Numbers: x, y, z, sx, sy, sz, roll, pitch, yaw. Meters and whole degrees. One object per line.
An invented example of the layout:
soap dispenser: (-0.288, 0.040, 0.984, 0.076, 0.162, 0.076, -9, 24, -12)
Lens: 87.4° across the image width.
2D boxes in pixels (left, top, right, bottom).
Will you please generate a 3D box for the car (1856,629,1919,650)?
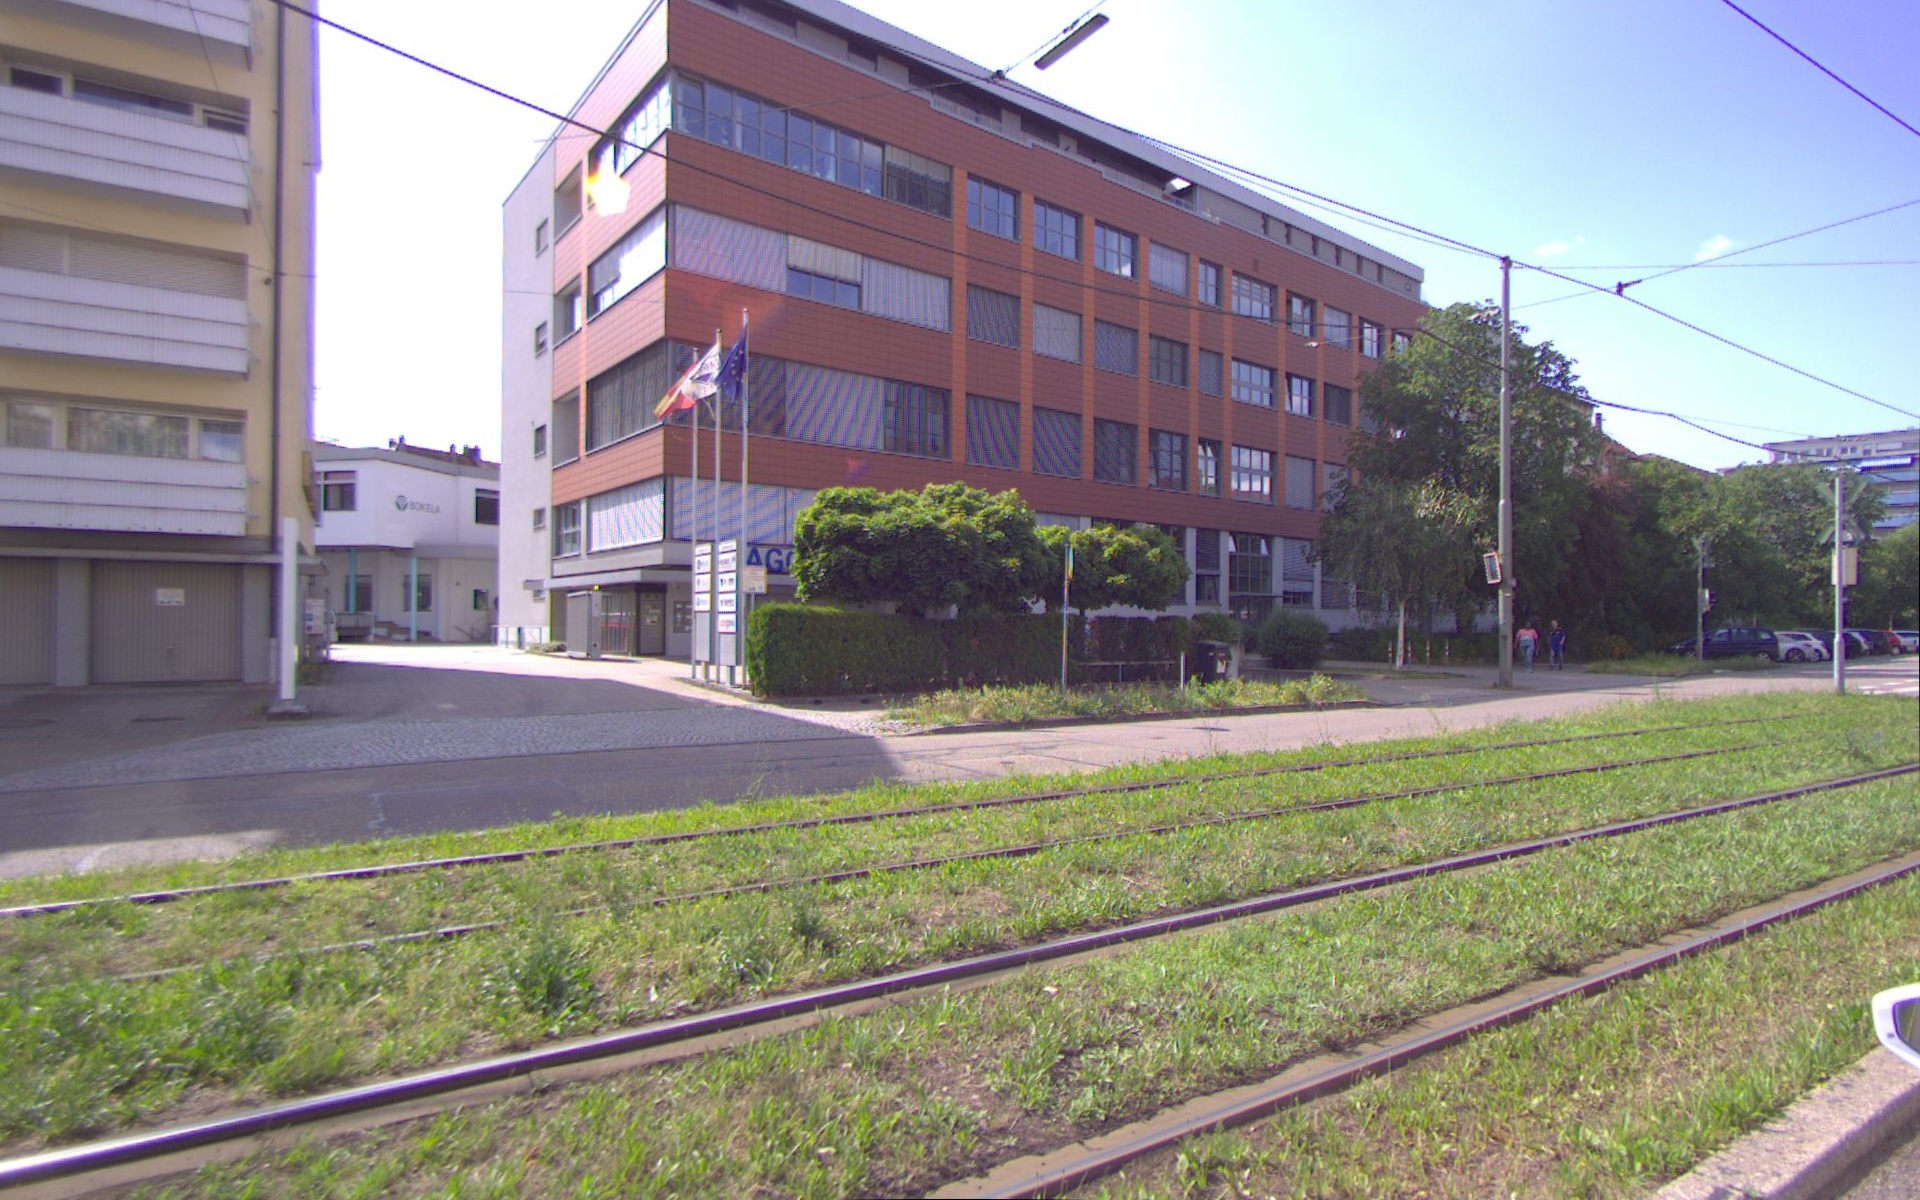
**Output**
car: (63.568, 2.694, 68.015, 3.919, 1.385, 1.717, -1, -2, 12)

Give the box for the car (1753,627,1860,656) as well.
car: (44.087, 2.174, 52.385, 3.919, 1.476, 1.692, -1, -2, 13)

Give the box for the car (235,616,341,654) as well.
car: (-30.875, 1.595, 46.197, 3.919, 1.717, 1.773, 0, -1, 12)

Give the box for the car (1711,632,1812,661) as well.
car: (37.405, 2.154, 46.932, 3.320, 1.252, 1.545, 0, -1, 14)

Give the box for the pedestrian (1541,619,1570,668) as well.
pedestrian: (20.635, 1.506, 34.817, 0.738, 1.679, 0.554, 1, -2, -29)

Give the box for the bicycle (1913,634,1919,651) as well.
bicycle: (54.821, 2.414, 56.939, 2.156, 0.983, 0.676, 1, -2, -34)

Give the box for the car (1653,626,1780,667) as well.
car: (32.719, 1.990, 43.557, 4.049, 1.662, 1.727, 0, -1, 14)

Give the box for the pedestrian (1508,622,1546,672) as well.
pedestrian: (18.767, 1.553, 33.228, 0.879, 1.594, 0.742, 3, -2, -29)

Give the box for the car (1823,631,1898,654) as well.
car: (55.639, 2.618, 62.127, 3.181, 1.326, 1.457, 0, -1, 7)

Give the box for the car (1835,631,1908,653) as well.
car: (58.281, 2.679, 64.259, 3.181, 1.326, 1.457, 0, -1, 7)

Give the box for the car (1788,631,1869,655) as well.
car: (48.700, 2.400, 56.356, 3.181, 1.326, 1.457, 0, -1, 4)

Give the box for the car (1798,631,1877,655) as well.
car: (50.795, 2.468, 58.165, 3.181, 1.326, 1.457, 0, -1, 7)

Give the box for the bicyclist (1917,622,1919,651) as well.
bicyclist: (54.758, 2.068, 56.749, 0.855, 1.602, 0.780, 1, -2, -34)

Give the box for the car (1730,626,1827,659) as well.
car: (39.958, 2.064, 49.104, 3.321, 1.525, 1.545, 0, -1, 15)
